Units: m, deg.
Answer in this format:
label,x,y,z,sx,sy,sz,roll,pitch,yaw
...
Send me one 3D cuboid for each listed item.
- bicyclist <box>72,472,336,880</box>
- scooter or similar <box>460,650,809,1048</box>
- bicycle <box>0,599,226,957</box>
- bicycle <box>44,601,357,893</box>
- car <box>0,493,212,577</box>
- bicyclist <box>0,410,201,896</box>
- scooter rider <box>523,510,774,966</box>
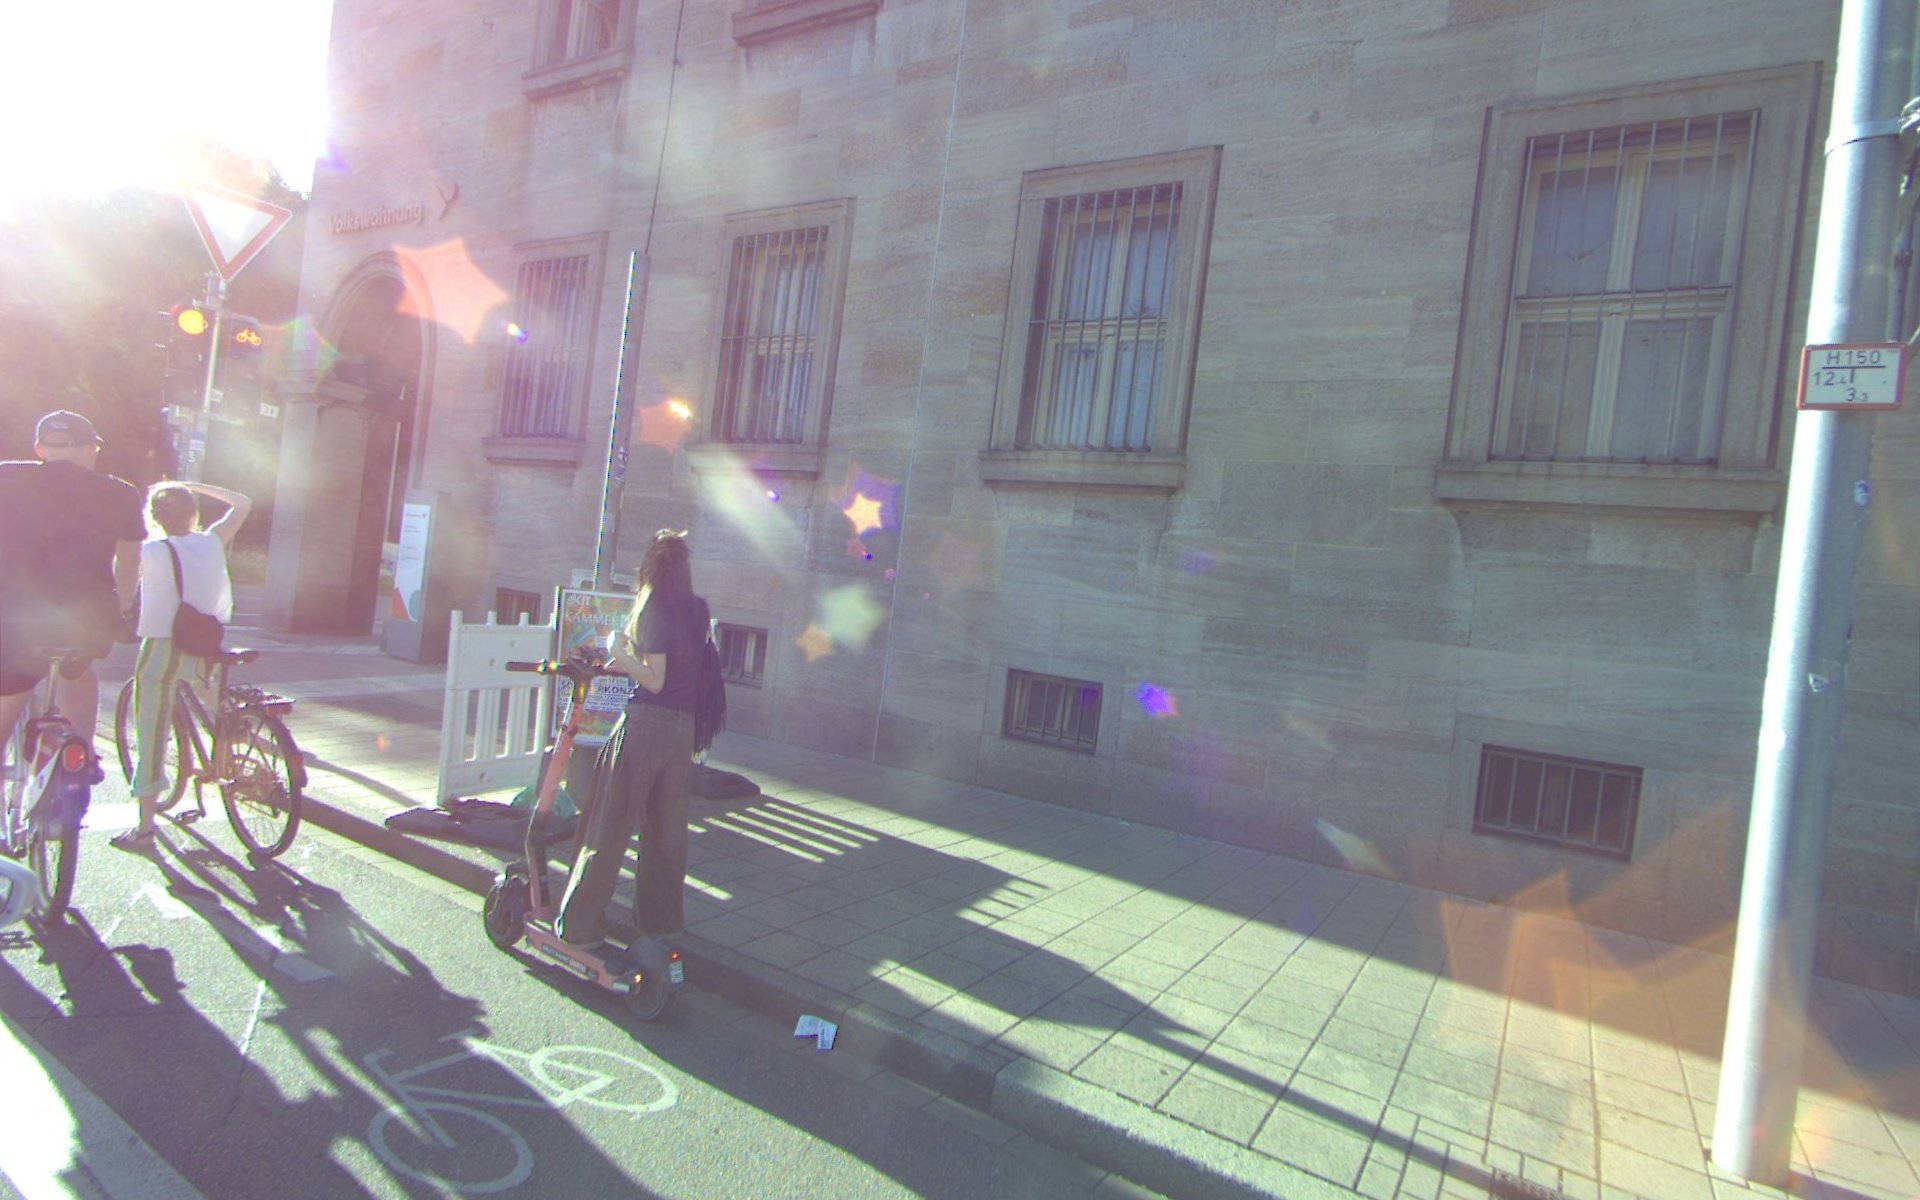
label,x,y,z,sx,sy,sz,roll,pitch,yaw
bicyclist,-3.665,0.322,4.875,0.934,1.760,0.584,7,0,32
scooter or similar,-1.283,0.852,3.882,1.253,1.164,0.573,6,0,38
bicycle,-3.744,0.598,3.999,1.717,1.057,0.624,7,0,31
bicycle,-3.733,0.636,4.896,1.718,1.057,0.582,7,0,33
car,-23.502,-1.751,27.357,1.967,1.533,4.586,6,-2,32
bicyclist,-3.680,0.177,3.993,0.897,1.736,0.624,7,0,30
scooter rider,-1.198,0.488,3.876,0.569,1.581,0.544,7,0,41
